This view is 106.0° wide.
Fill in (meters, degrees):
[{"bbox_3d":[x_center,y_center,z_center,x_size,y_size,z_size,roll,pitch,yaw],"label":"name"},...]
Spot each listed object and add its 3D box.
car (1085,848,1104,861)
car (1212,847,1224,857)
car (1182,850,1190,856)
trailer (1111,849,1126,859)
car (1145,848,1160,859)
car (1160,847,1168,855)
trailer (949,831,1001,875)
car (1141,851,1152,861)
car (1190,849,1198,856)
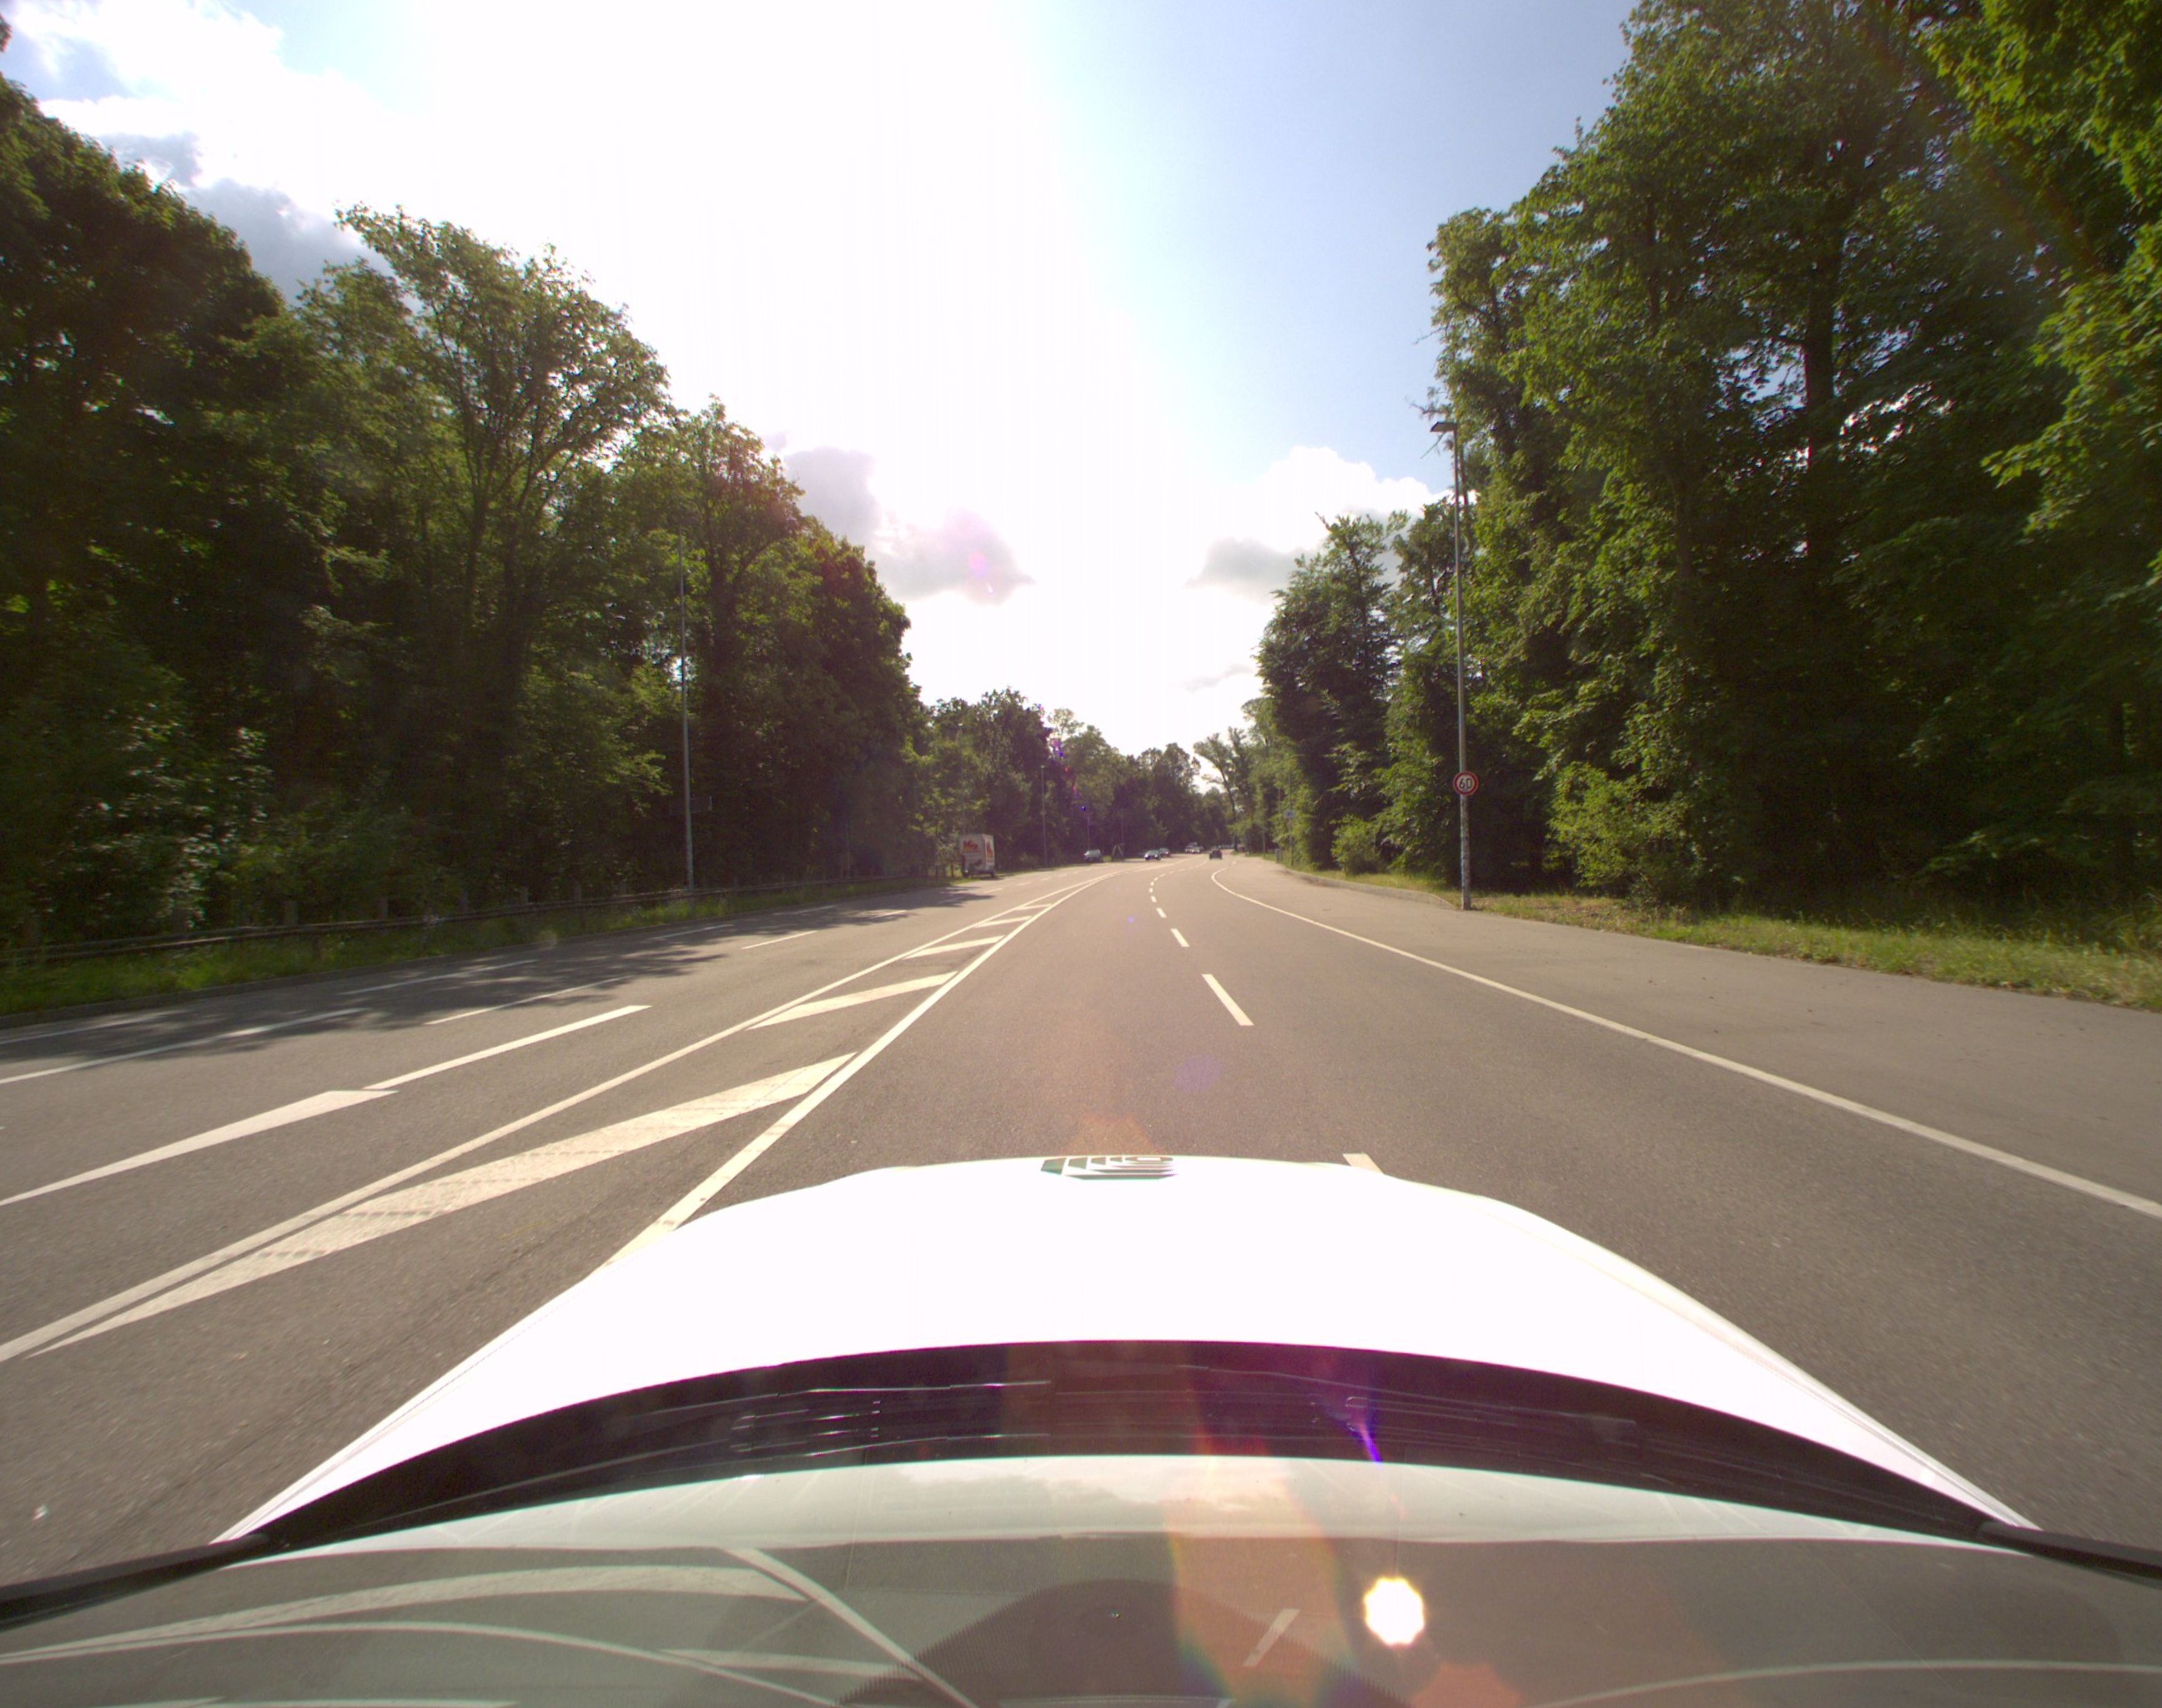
[{"bbox_3d":[1.590,0.058,95.300,1.493,1.446,3.543,-1,0,14],"label":"car"},{"bbox_3d":[19.604,-0.265,116.374,1.587,1.378,3.989,-1,0,12],"label":"car"},{"bbox_3d":[24.437,-0.258,189.971,1.494,1.446,3.540,-1,0,11],"label":"car"},{"bbox_3d":[5.429,-0.047,117.781,1.705,1.354,3.744,-1,0,11],"label":"trailer"},{"bbox_3d":[9.754,-0.133,111.141,1.493,1.446,3.541,-1,0,12],"label":"car"},{"bbox_3d":[15.468,-0.645,151.730,1.496,1.446,3.535,-1,0,6],"label":"car"},{"bbox_3d":[-6.049,-0.050,46.858,1.983,2.388,4.008,-1,0,7],"label":"trailer"},{"bbox_3d":[11.639,0.329,145.551,1.913,1.855,4.005,-1,0,5],"label":"car"},{"bbox_3d":[25.305,-0.386,182.493,1.494,1.446,3.539,-1,0,10],"label":"car"}]
